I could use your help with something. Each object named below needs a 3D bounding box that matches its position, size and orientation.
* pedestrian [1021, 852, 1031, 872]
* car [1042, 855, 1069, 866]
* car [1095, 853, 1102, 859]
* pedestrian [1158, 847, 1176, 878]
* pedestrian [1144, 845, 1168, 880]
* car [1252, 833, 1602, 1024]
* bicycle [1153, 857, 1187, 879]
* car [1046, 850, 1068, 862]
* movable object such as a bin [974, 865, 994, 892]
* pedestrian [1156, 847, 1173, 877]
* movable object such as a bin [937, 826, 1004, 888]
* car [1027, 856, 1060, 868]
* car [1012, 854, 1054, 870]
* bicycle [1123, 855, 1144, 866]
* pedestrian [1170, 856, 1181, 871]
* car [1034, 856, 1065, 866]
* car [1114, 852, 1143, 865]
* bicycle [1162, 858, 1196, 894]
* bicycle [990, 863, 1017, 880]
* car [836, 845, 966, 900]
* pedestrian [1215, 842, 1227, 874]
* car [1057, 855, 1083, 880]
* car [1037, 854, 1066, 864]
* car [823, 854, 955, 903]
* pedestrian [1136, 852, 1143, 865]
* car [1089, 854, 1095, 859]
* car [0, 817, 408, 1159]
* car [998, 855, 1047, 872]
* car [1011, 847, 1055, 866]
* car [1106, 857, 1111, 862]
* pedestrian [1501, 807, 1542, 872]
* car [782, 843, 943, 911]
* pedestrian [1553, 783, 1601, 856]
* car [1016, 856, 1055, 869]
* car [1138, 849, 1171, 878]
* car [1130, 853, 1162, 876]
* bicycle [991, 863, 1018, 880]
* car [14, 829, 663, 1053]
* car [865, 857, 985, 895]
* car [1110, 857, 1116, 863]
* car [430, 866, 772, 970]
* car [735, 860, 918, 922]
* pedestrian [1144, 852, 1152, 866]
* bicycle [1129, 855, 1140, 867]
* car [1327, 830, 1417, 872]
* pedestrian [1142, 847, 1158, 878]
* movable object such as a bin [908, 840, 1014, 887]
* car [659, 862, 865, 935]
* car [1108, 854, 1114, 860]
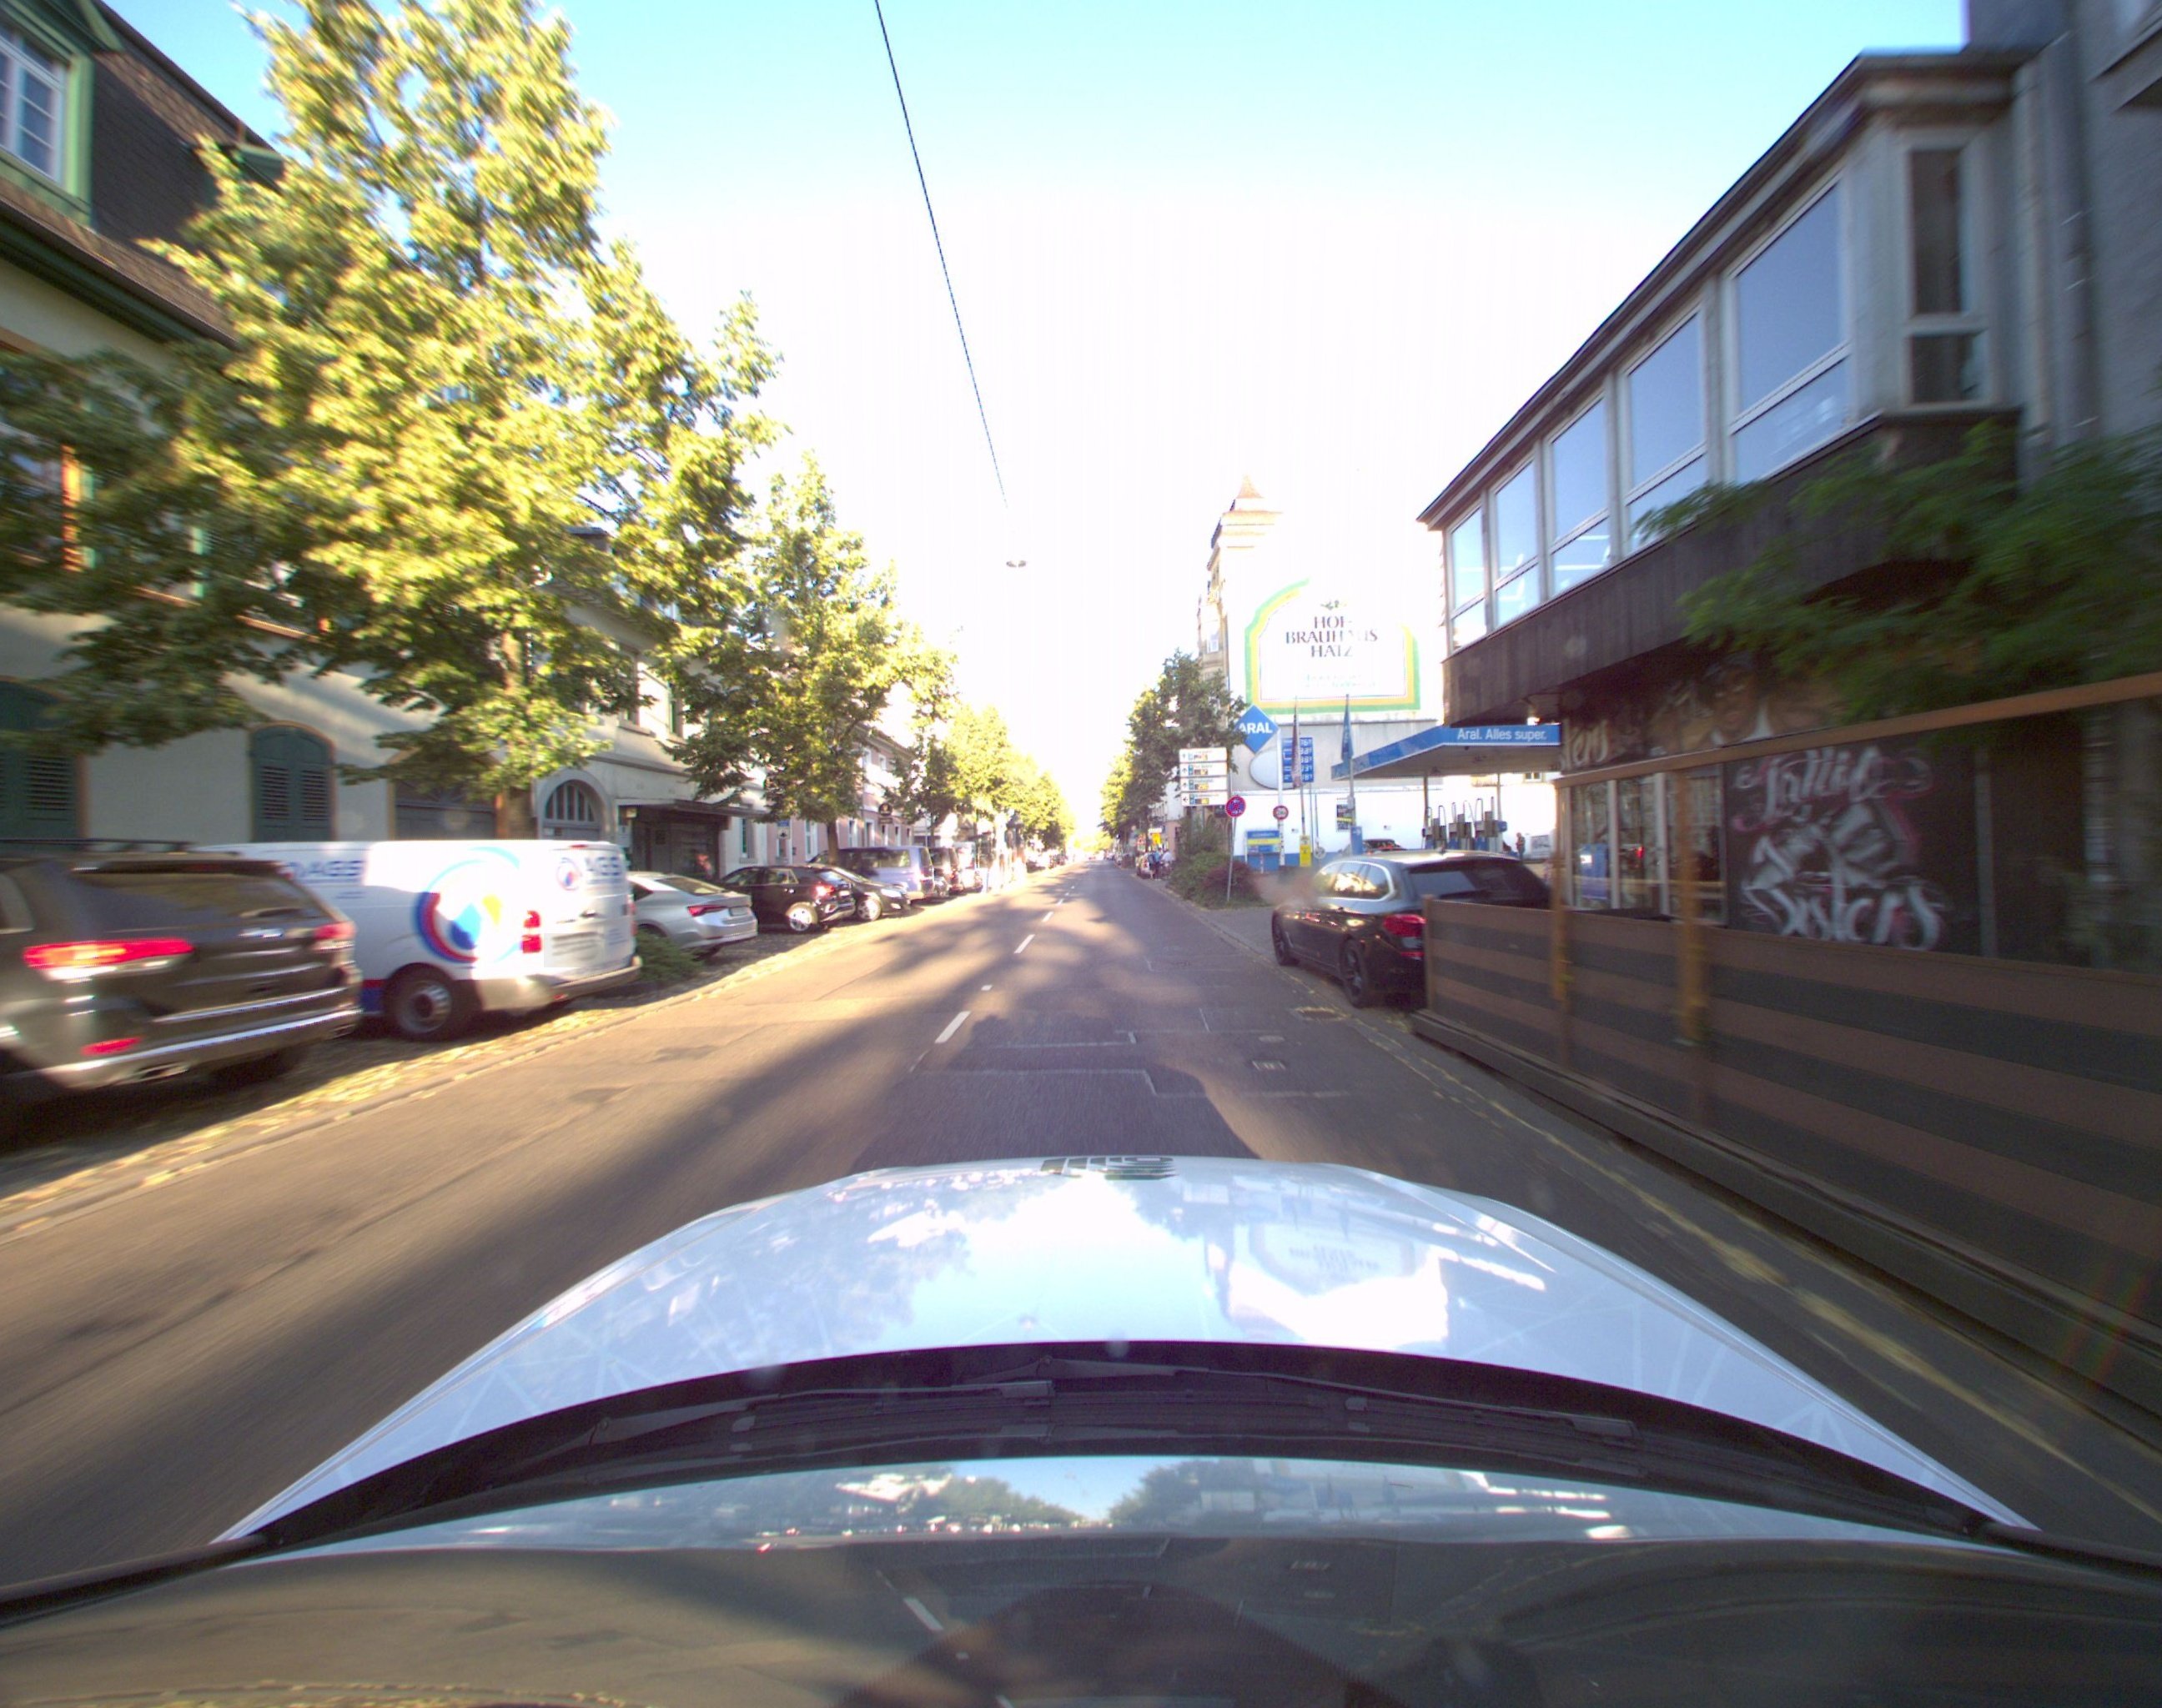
[{"bbox_3d":[-4.801,0.700,71.073,0.706,1.686,0.836,-1,0,10],"label":"pedestrian"},{"bbox_3d":[-4.228,1.072,136.905,4.426,1.759,1.920,-1,0,1],"label":"car"},{"bbox_3d":[4.852,0.612,225.403,1.745,1.540,3.305,-2,-1,2],"label":"car"},{"bbox_3d":[4.973,0.500,47.180,0.657,1.700,0.660,-4,0,-43],"label":"pedestrian"},{"bbox_3d":[4.115,0.447,44.726,1.013,1.825,0.778,-4,0,-9],"label":"pedestrian"},{"bbox_3d":[3.440,0.627,9.303,1.823,1.488,4.848,-4,0,-1],"label":"car"},{"bbox_3d":[4.861,0.753,44.608,0.856,1.098,1.939,-3,0,40],"label":"bicycle"},{"bbox_3d":[-5.086,0.449,174.384,4.426,2.435,1.920,-1,-1,1],"label":"car"},{"bbox_3d":[-4.330,1.083,36.261,0.687,1.105,0.884,-2,0,3],"label":"movable object such as a bin"},{"bbox_3d":[4.889,0.458,47.807,0.678,1.706,0.821,-4,0,-13],"label":"pedestrian"},{"bbox_3d":[-5.655,0.167,42.617,2.615,2.969,5.304,-1,0,1],"label":"movable object such as a bin"},{"bbox_3d":[-5.155,1.074,112.905,4.426,1.568,1.920,-1,0,1],"label":"car"},{"bbox_3d":[-5.388,0.896,91.437,4.554,1.698,2.061,-1,0,1],"label":"car"},{"bbox_3d":[5.316,0.682,82.341,1.935,1.074,0.710,-1,0,33],"label":"bicycle"},{"bbox_3d":[7.389,0.739,64.025,0.679,1.141,1.361,-3,-2,1],"label":"pedestrian"},{"bbox_3d":[-4.633,1.001,119.531,4.426,1.448,1.920,-1,0,1],"label":"car"},{"bbox_3d":[6.287,0.552,107.073,1.654,1.588,3.846,-1,0,44],"label":"car"},{"bbox_3d":[3.544,0.779,29.316,0.478,1.143,1.691,-4,0,32],"label":"bicycle"},{"bbox_3d":[-5.009,1.156,52.789,1.673,1.079,0.445,1,-1,9],"label":"bicycle"},{"bbox_3d":[-6.754,0.669,30.978,4.470,1.976,1.965,-1,0,-1],"label":"car"},{"bbox_3d":[8.309,0.218,48.312,0.460,1.875,0.499,-2,0,-14],"label":"pedestrian"},{"bbox_3d":[-0.842,1.017,64.069,1.702,1.823,4.014,-4,0,1],"label":"car"},{"bbox_3d":[-4.714,0.781,130.411,4.426,1.523,1.920,-1,0,1],"label":"car"},{"bbox_3d":[-6.645,0.826,28.499,4.114,1.637,1.861,-1,0,1],"label":"car"},{"bbox_3d":[6.443,0.518,89.978,0.724,1.378,0.781,-1,0,1],"label":"pedestrian"},{"bbox_3d":[3.269,0.677,239.544,1.745,1.540,3.305,-2,-1,2],"label":"car"},{"bbox_3d":[-7.532,0.791,5.475,4.412,1.870,1.894,-2,0,1],"label":"car"},{"bbox_3d":[-5.557,0.913,78.234,4.532,1.541,1.811,-1,0,0],"label":"car"},{"bbox_3d":[-5.185,0.281,88.640,4.556,1.962,1.991,-1,0,0],"label":"car"},{"bbox_3d":[7.649,1.440,227.579,1.507,1.298,3.305,-1,-1,2],"label":"car"},{"bbox_3d":[20.087,-0.628,37.177,1.204,2.908,1.167,-1,-1,1],"label":"pedestrian"},{"bbox_3d":[-6.830,0.696,25.835,4.467,1.976,2.069,-1,0,1],"label":"car"},{"bbox_3d":[20.294,-1.384,33.328,1.204,2.908,1.167,-1,-1,1],"label":"pedestrian"},{"bbox_3d":[-5.367,1.013,96.434,4.426,1.506,1.845,-1,-1,1],"label":"car"},{"bbox_3d":[4.504,0.570,50.592,1.681,1.575,4.014,-4,0,1],"label":"car"},{"bbox_3d":[4.364,0.686,55.134,1.779,1.375,4.524,-4,0,1],"label":"car"},{"bbox_3d":[-5.041,1.172,53.386,1.673,1.079,0.445,1,-1,9],"label":"bicycle"},{"bbox_3d":[-7.295,0.794,8.426,4.853,1.908,1.974,-2,0,1],"label":"car"},{"bbox_3d":[-6.510,0.902,34.266,4.574,1.470,1.894,-1,0,4],"label":"car"},{"bbox_3d":[7.997,1.531,204.923,1.507,1.263,3.305,-1,-1,2],"label":"car"},{"bbox_3d":[-7.540,0.974,13.055,4.459,1.485,1.735,-1,0,3],"label":"car"},{"bbox_3d":[-6.651,0.949,21.683,4.317,1.501,1.839,-1,0,-4],"label":"car"},{"bbox_3d":[9.410,0.663,115.145,0.916,1.926,1.014,0,0,-9],"label":"pedestrian"},{"bbox_3d":[5.497,0.685,83.800,0.593,1.178,1.856,-1,0,21],"label":"bicycle"},{"bbox_3d":[11.040,-0.066,31.297,1.728,1.431,4.909,-3,-1,1],"label":"car"},{"bbox_3d":[4.044,0.481,47.621,0.677,1.754,0.822,-2,-1,-9],"label":"pedestrian"},{"bbox_3d":[-6.815,0.501,46.881,2.285,2.495,5.789,-2,0,44],"label":"movable object such as a bin"},{"bbox_3d":[-7.196,0.978,18.648,3.906,1.501,1.907,-1,0,3],"label":"car"},{"bbox_3d":[6.869,0.777,186.646,1.507,1.276,3.305,-1,-1,2],"label":"car"}]
